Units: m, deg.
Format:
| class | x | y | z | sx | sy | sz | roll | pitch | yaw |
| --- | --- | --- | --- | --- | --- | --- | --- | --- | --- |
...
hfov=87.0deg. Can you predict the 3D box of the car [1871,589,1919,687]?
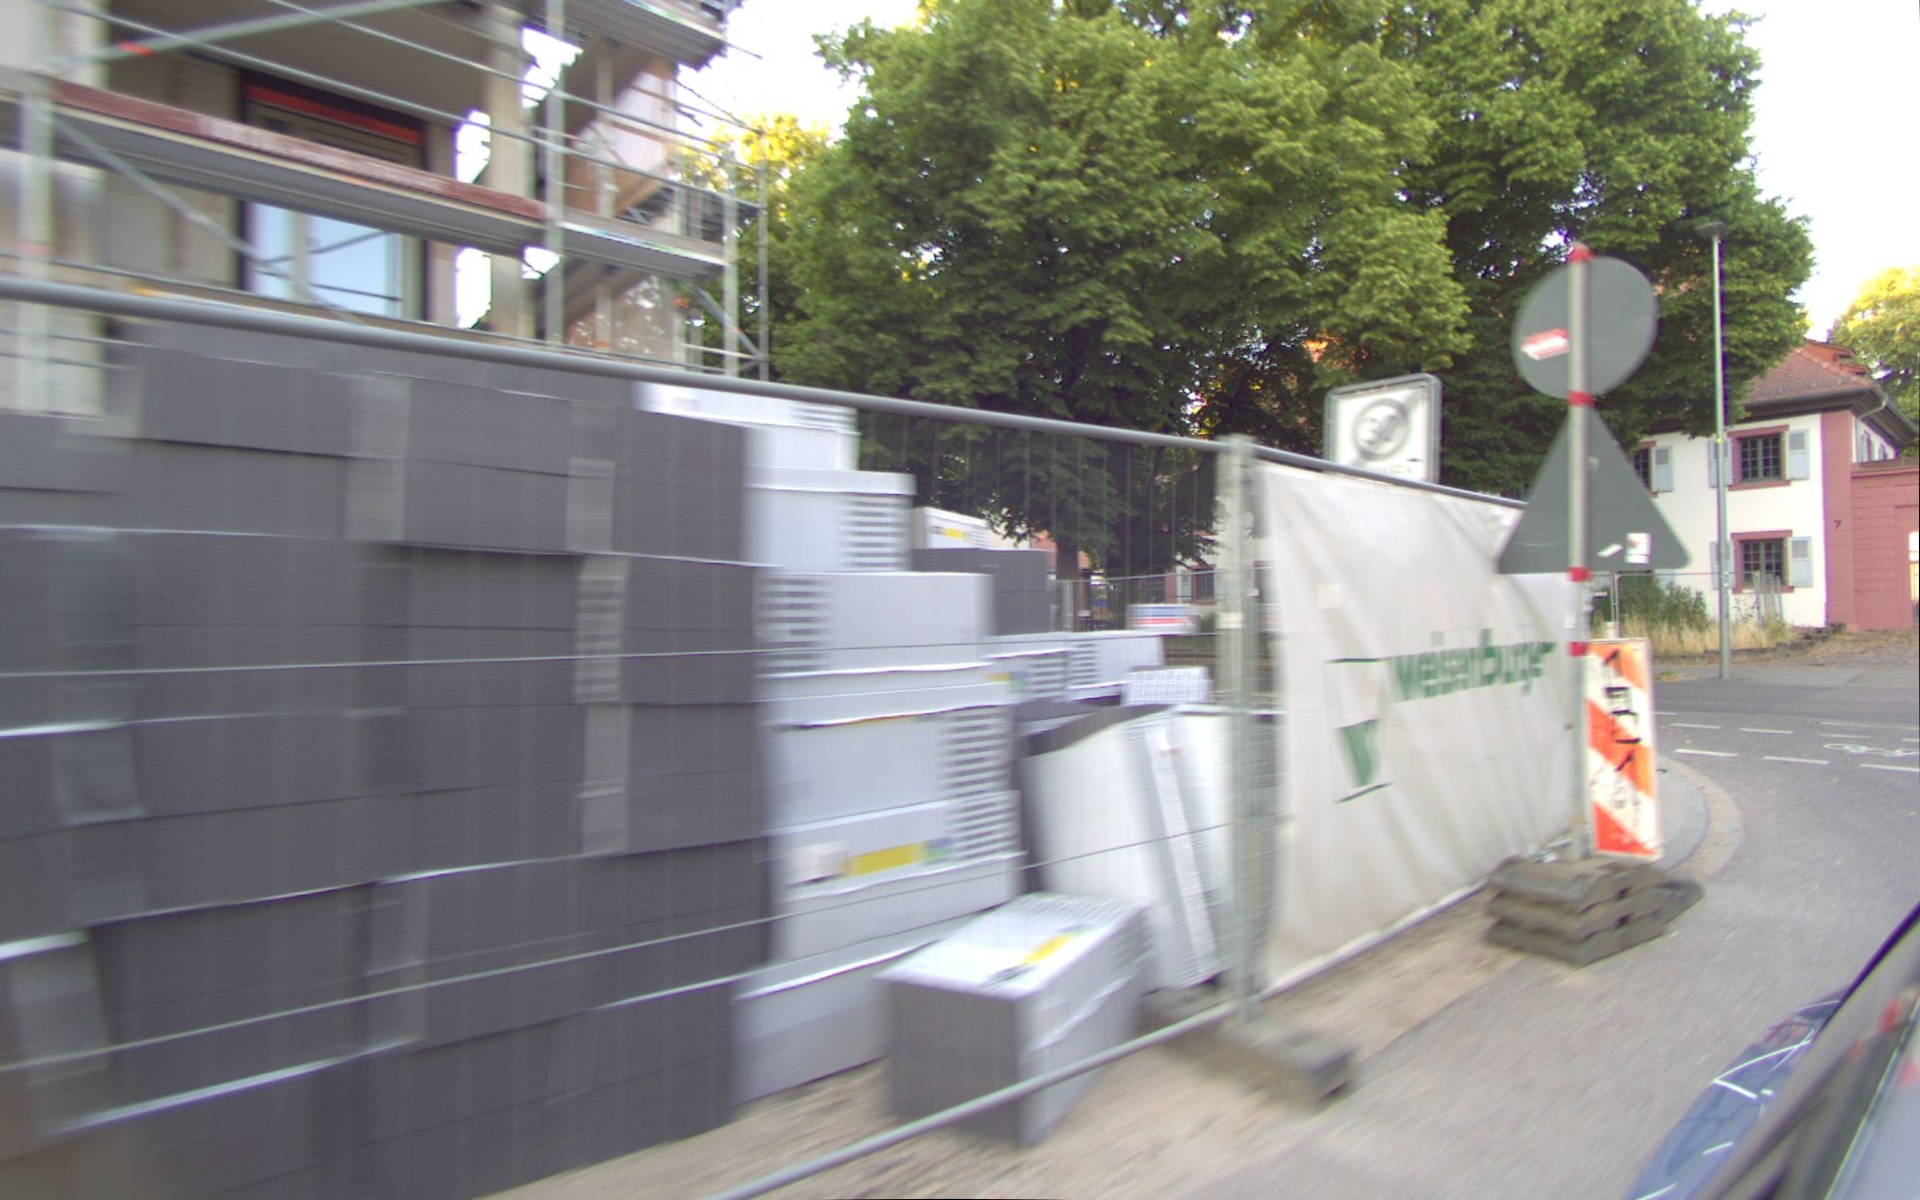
| class | x | y | z | sx | sy | sz | roll | pitch | yaw |
| --- | --- | --- | --- | --- | --- | --- | --- | --- | --- |
| car | 15.744 | 0.494 | 14.081 | 1.592 | 1.431 | 4.400 | 1 | -3 | -42 |
